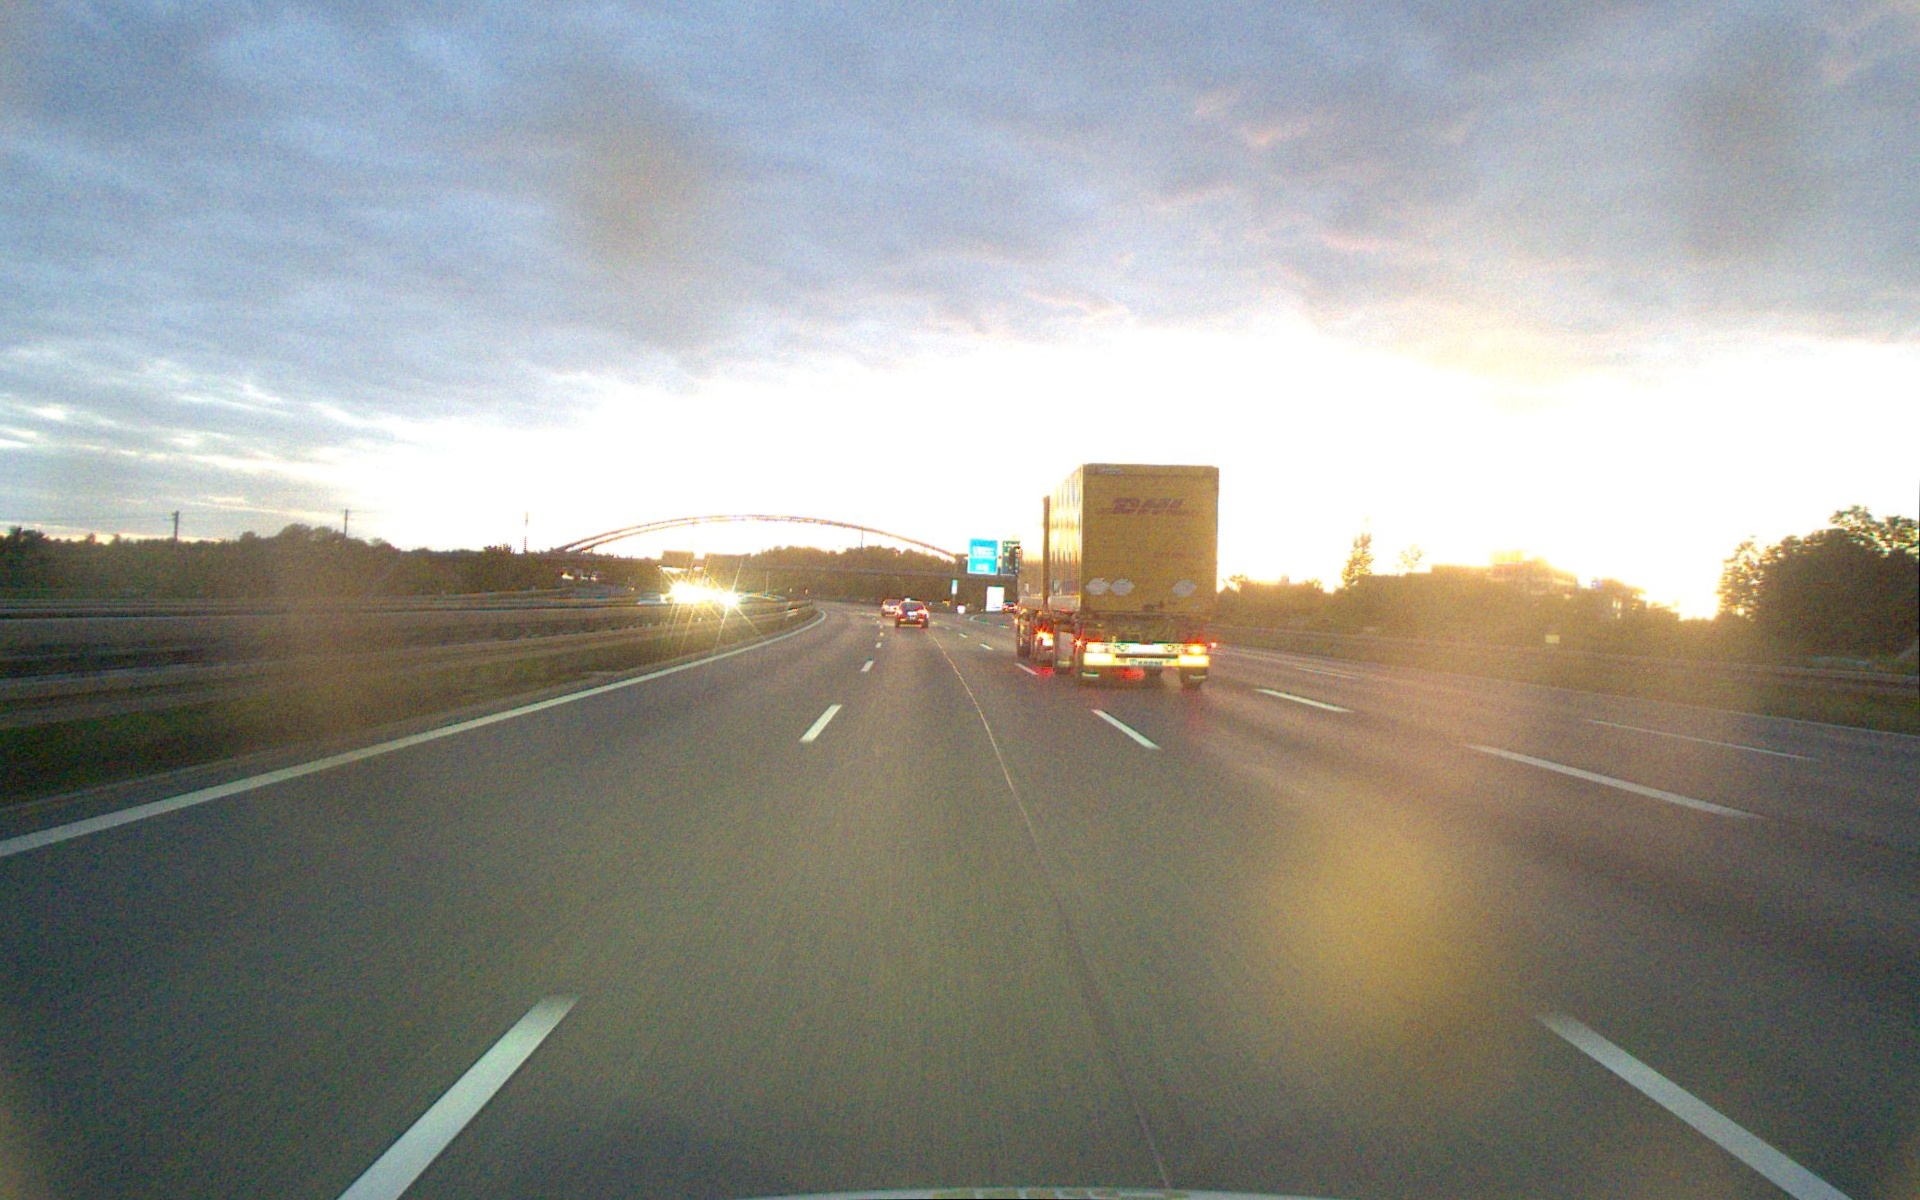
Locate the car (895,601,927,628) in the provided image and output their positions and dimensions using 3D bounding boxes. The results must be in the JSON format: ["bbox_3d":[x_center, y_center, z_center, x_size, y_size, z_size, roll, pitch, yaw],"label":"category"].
[{"bbox_3d":[-2.764,0.801,92.073,1.656,1.426,3.406,1,-1,-4],"label":"car"}]

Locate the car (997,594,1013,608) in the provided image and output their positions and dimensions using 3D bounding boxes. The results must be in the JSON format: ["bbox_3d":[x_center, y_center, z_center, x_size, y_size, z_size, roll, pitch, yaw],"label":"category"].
[{"bbox_3d":[5.989,0.162,220.419,1.951,1.747,4.002,2,-1,5],"label":"car"}]

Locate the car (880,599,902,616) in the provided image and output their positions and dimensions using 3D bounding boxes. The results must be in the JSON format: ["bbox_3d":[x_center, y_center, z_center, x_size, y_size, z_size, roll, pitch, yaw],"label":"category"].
[{"bbox_3d":[-6.105,0.667,146.493,1.654,1.426,3.409,0,-1,2],"label":"car"}]

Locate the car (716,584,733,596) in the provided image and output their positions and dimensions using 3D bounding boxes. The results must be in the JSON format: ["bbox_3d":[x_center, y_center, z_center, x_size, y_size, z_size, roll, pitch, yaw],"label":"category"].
[{"bbox_3d":[-29.537,-1.229,207.235,1.955,1.428,4.791,1,0,-7],"label":"car"}]

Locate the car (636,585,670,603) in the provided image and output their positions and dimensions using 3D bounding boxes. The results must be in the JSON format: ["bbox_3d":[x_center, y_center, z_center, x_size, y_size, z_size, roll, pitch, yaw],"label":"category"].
[{"bbox_3d":[-21.509,-0.444,116.062,1.687,1.248,4.181,1,0,-2],"label":"car"}]

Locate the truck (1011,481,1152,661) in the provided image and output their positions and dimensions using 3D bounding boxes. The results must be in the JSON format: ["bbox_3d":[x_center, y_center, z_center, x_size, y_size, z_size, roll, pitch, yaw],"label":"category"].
[{"bbox_3d":[2.988,-0.726,43.779,2.636,4.142,10.517,1,0,-2],"label":"truck"}]

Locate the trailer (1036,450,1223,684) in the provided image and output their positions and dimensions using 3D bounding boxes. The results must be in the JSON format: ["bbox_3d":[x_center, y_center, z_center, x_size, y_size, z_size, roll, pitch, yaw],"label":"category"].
[{"bbox_3d":[3.248,-0.630,34.101,2.667,4.142,8.828,1,0,-2],"label":"trailer"}]
